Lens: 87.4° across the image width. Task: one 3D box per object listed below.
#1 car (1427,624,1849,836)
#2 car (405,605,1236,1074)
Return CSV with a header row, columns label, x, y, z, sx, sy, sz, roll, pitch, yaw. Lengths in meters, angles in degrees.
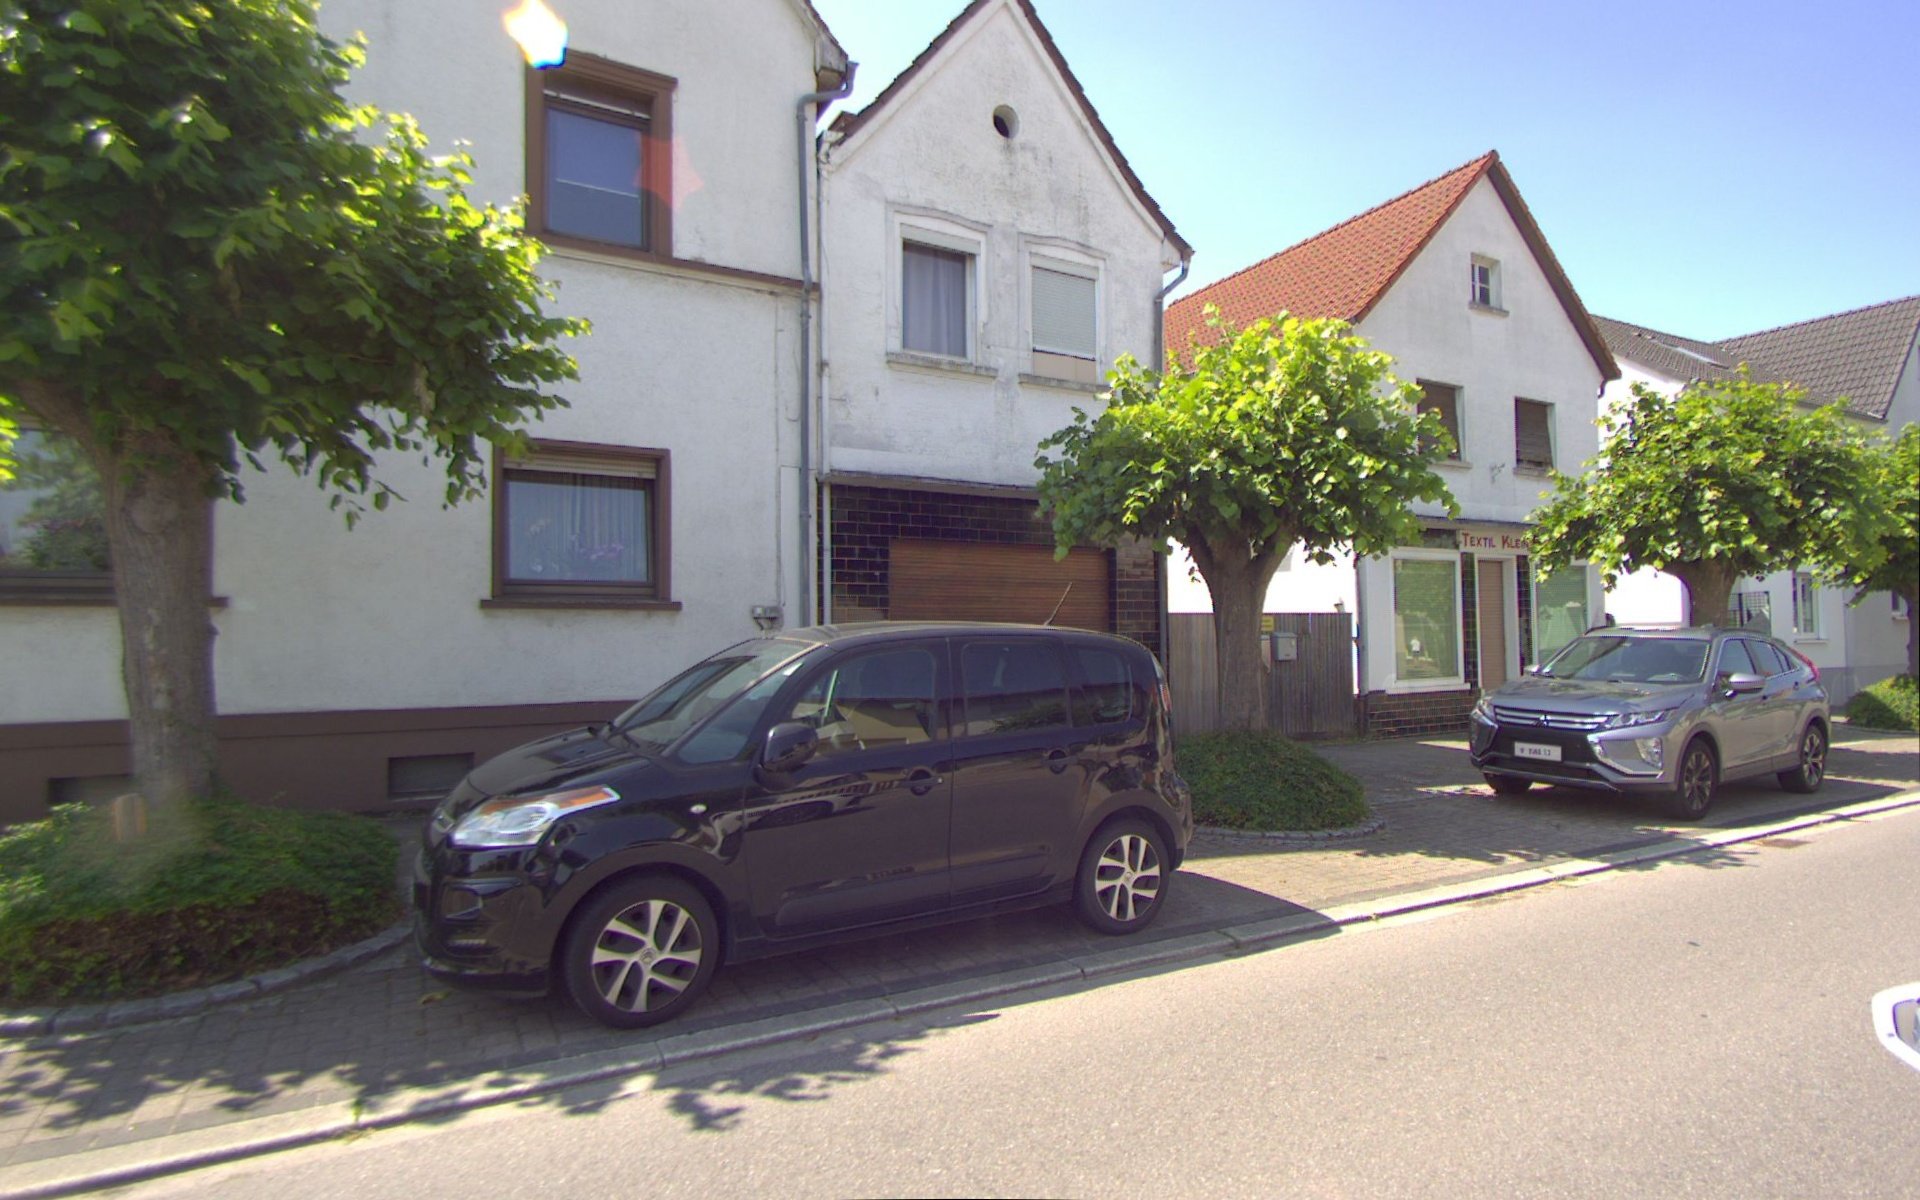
label,x,y,z,sx,sy,sz,roll,pitch,yaw
car,6.811,1.088,9.991,4.321,1.674,1.982,1,-1,-33
car,-0.660,0.908,5.374,4.008,1.657,1.844,2,-1,-30
